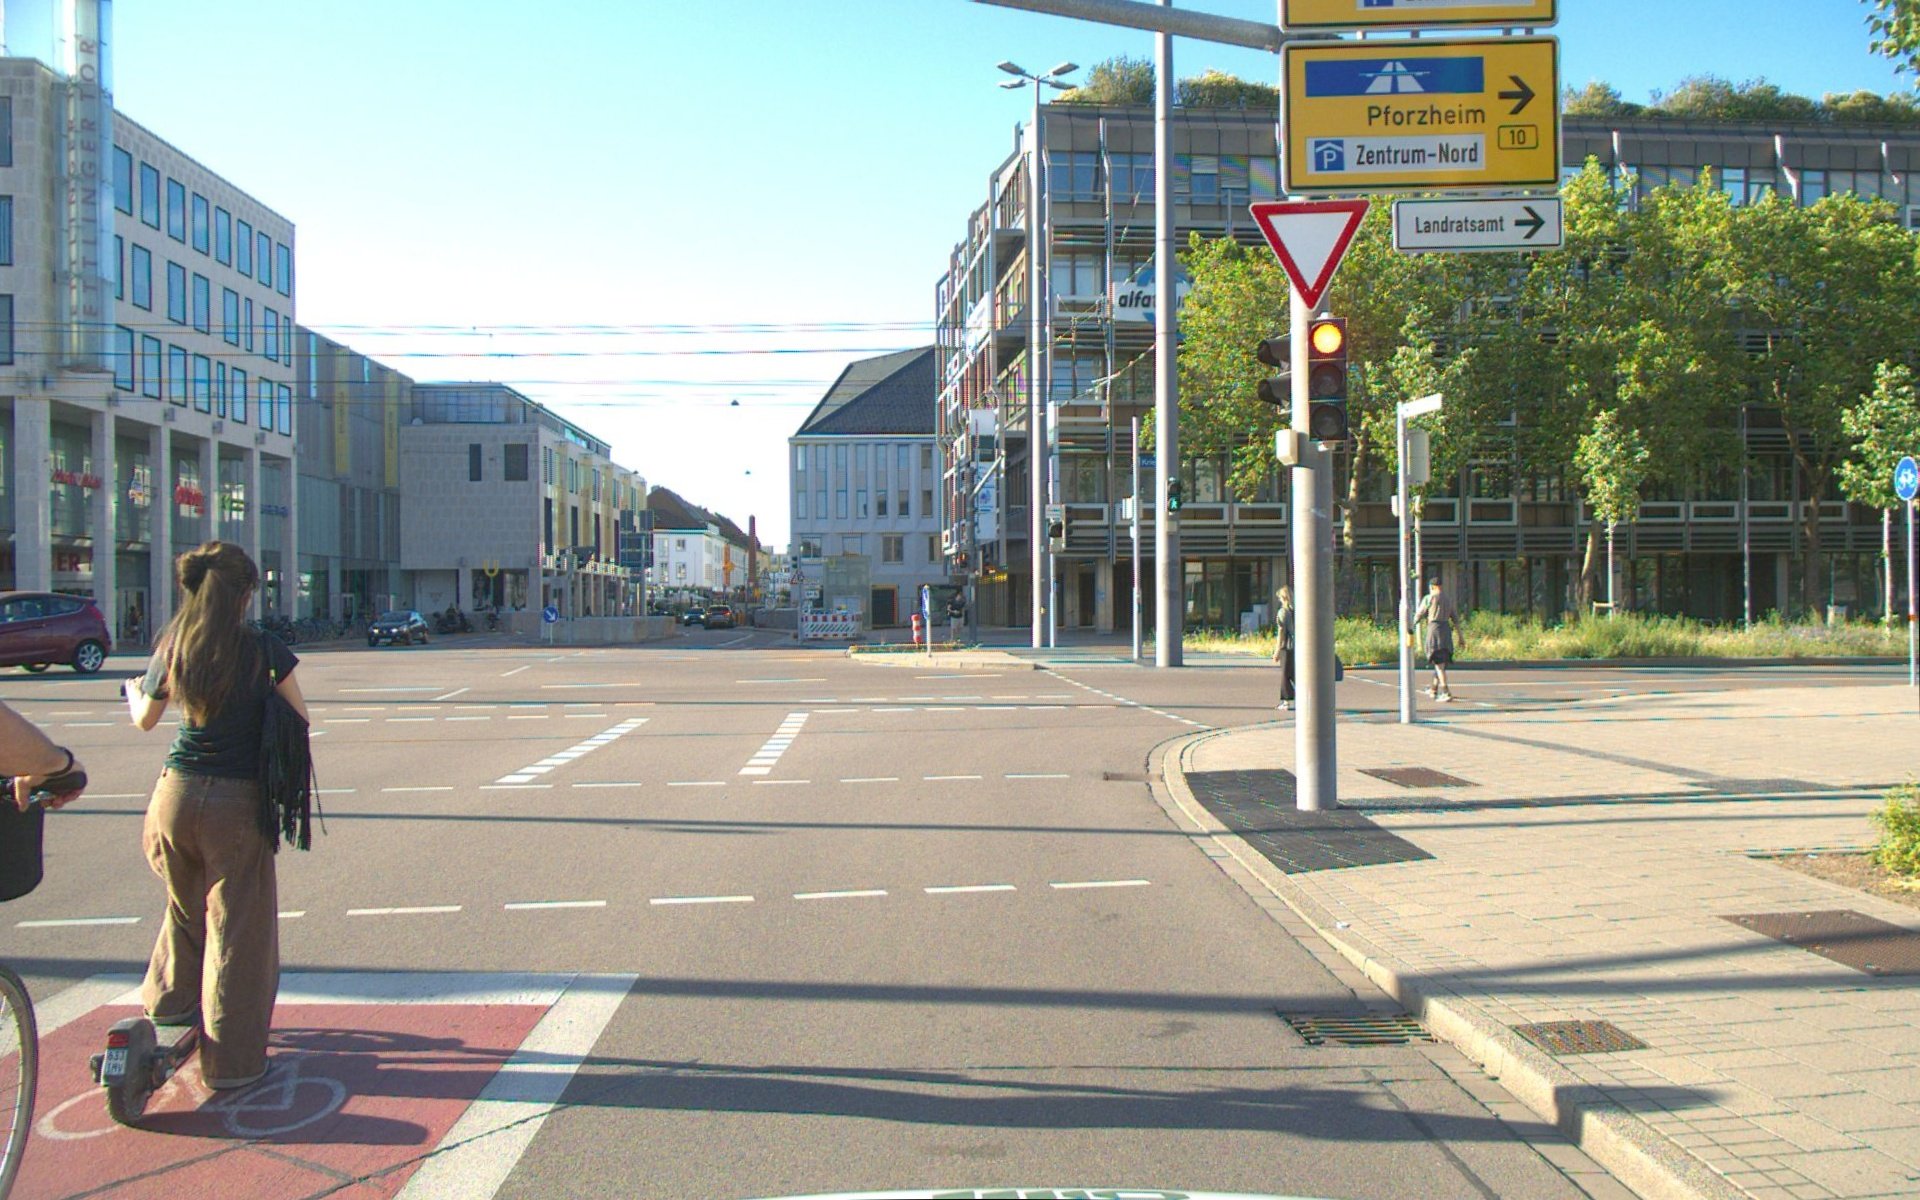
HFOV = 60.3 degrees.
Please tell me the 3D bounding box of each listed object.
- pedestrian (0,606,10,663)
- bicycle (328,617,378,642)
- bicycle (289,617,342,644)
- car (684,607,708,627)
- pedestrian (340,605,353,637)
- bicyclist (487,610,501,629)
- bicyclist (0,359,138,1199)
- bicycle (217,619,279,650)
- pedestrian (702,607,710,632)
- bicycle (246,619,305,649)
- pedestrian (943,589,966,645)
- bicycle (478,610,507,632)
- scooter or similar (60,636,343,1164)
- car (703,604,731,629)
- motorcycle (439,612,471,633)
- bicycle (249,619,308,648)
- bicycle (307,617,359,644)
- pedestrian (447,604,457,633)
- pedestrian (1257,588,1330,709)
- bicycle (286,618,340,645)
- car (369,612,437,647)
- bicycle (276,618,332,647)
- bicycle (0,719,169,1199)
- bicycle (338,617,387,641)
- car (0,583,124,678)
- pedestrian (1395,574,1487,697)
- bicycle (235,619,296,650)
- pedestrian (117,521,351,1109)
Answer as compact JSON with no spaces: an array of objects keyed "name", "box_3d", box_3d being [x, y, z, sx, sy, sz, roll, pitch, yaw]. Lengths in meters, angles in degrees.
[{"name":"pedestrian","box_3d":[-33.128,1.183,56.903,0.706,1.918,0.780,1,-1,-28]},{"name":"bicycle","box_3d":[-30.926,1.480,84.266,2.260,1.244,0.611,0,0,-3]},{"name":"bicycle","box_3d":[-30.712,1.459,78.817,2.260,1.244,0.611,0,0,-3]},{"name":"car","box_3d":[-23.767,1.520,148.853,1.762,1.686,3.996,1,0,-5]},{"name":"pedestrian","box_3d":[-33.659,1.145,90.745,0.544,1.709,0.606,1,0,-11]},{"name":"bicyclist","box_3d":[-27.297,1.123,96.930,0.500,1.103,0.624,1,0,29]},{"name":"bicyclist","box_3d":[-1.972,0.459,2.853,0.647,1.750,0.865,1,-1,-1]},{"name":"bicycle","box_3d":[-29.331,1.435,68.115,2.260,1.244,0.611,0,0,-3]},{"name":"pedestrian","box_3d":[-17.897,1.379,116.713,0.511,1.709,0.582,1,0,-8]},{"name":"bicycle","box_3d":[-29.289,1.447,70.755,2.260,1.244,0.611,0,0,-3]},{"name":"pedestrian","box_3d":[-0.200,0.584,57.297,0.772,1.923,0.644,1,-1,-1]},{"name":"bicycle","box_3d":[-27.348,1.230,96.817,0.500,1.228,1.808,1,0,28]},{"name":"scooter or similar","box_3d":[-2.172,0.780,4.861,0.538,1.316,1.189,1,0,-15]},{"name":"car","box_3d":[-15.825,1.073,107.945,1.705,1.558,3.849,1,0,-8]},{"name":"motorcycle","box_3d":[-29.760,1.343,97.474,1.775,1.228,0.509,1,0,-16]},{"name":"bicycle","box_3d":[-29.502,1.448,71.632,2.260,1.244,0.611,0,0,-3]},{"name":"bicycle","box_3d":[-30.333,1.471,80.050,2.260,1.244,0.611,0,0,-3]},{"name":"pedestrian","box_3d":[-30.098,1.089,98.077,0.512,1.709,0.581,1,0,-14]},{"name":"pedestrian","box_3d":[4.263,0.609,21.188,0.772,1.518,0.644,1,-1,-1]},{"name":"bicycle","box_3d":[-30.063,1.461,76.847,2.260,1.244,0.611,0,0,-3]},{"name":"car","box_3d":[-23.376,1.216,69.483,1.597,1.365,3.998,-3,0,-3]},{"name":"bicycle","box_3d":[-29.602,1.460,74.696,2.260,1.244,0.611,0,0,-3]},{"name":"bicycle","box_3d":[-2.076,0.863,2.927,0.475,1.176,1.831,1,0,-1]},{"name":"bicycle","box_3d":[-30.814,1.486,85.337,2.260,1.244,0.611,0,0,-3]},{"name":"car","box_3d":[-16.878,0.532,28.844,1.622,1.613,3.893,-1,0,27]},{"name":"pedestrian","box_3d":[6.769,0.493,23.313,0.864,1.694,0.960,1,-1,-16]},{"name":"bicycle","box_3d":[-29.124,1.444,69.401,2.260,1.244,0.611,0,0,-3]},{"name":"pedestrian","box_3d":[-2.182,0.612,5.028,0.540,1.661,0.569,1,-1,-16]}]
